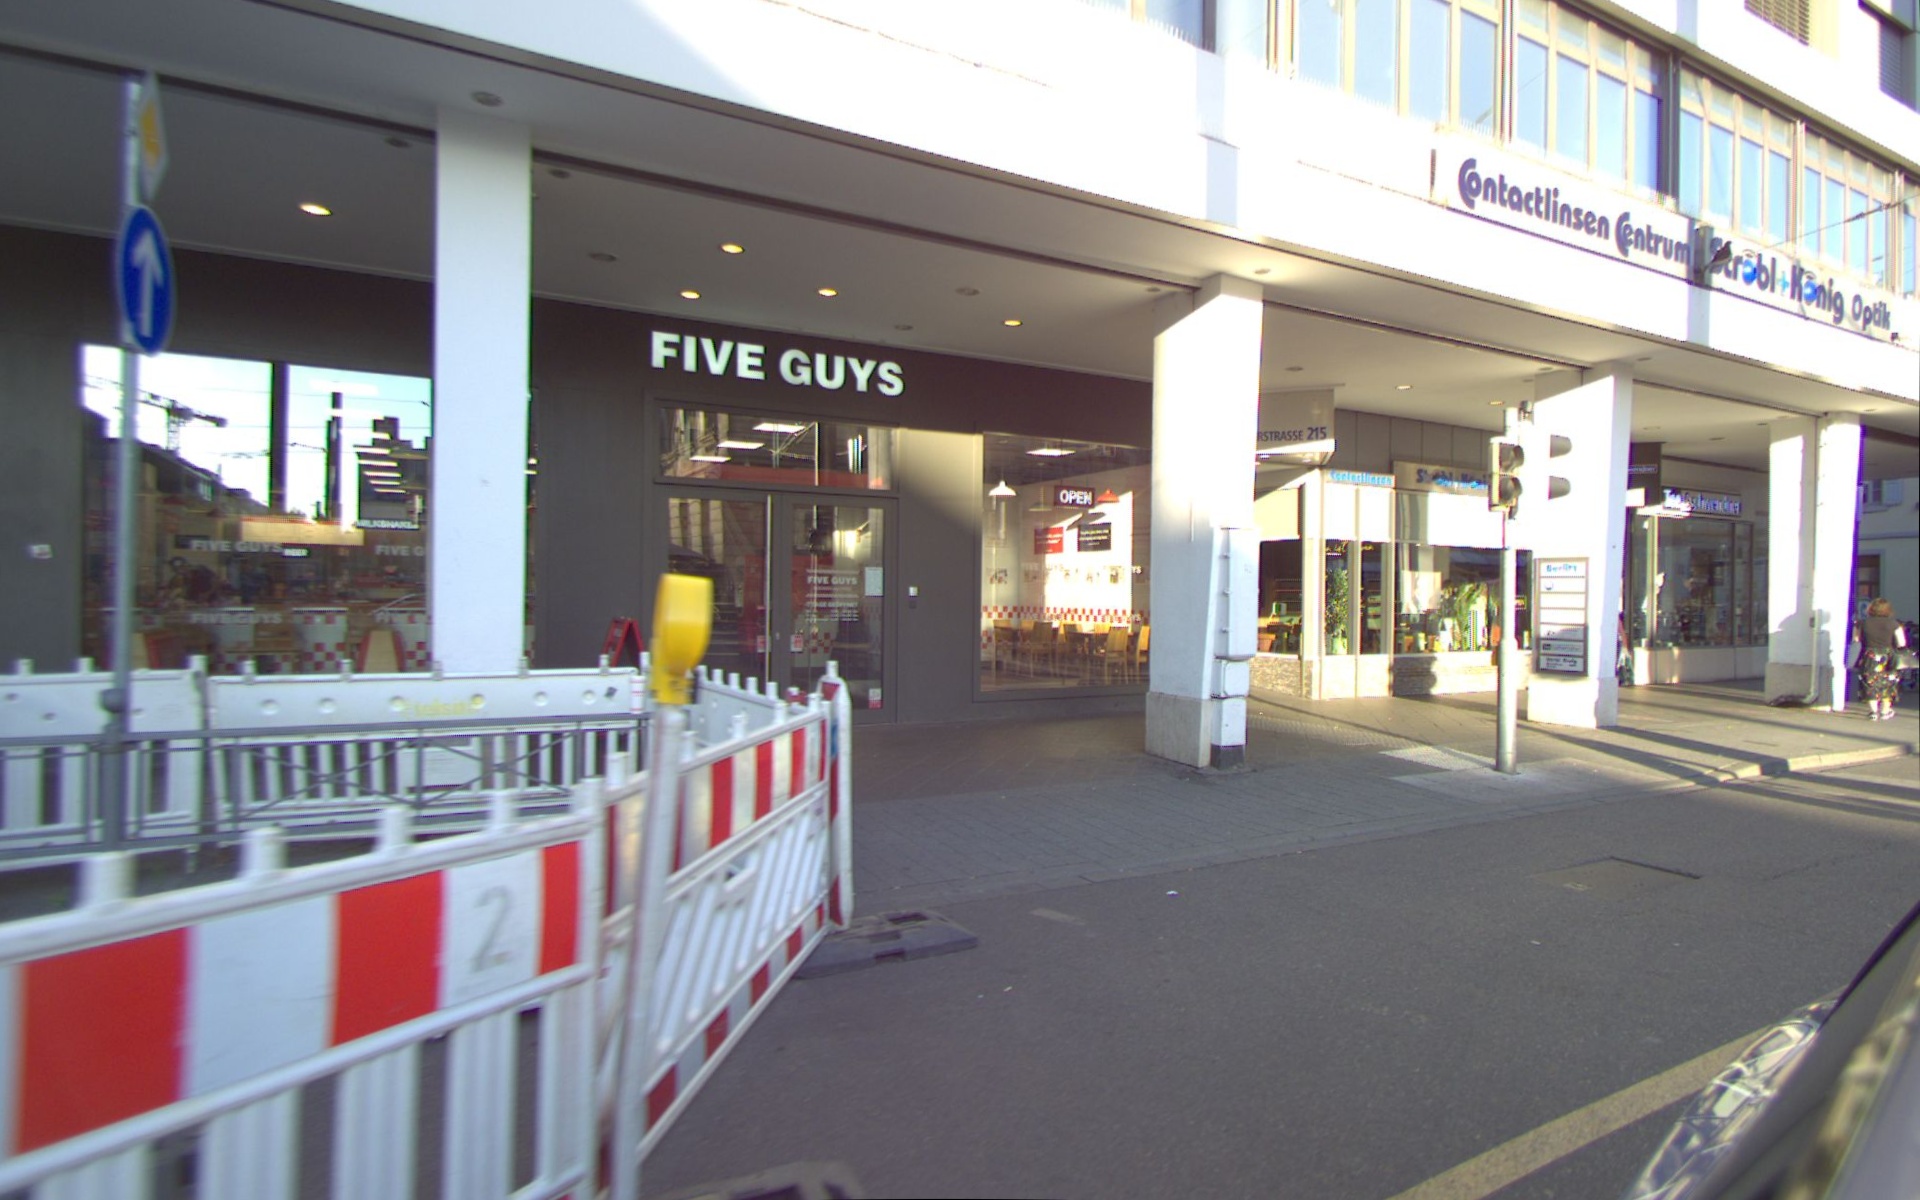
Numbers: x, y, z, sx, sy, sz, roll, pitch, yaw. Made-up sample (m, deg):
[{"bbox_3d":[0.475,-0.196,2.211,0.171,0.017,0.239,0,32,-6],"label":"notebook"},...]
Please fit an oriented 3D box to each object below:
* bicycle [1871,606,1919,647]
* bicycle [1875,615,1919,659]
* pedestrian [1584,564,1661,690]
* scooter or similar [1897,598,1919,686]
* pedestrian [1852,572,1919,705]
[{"bbox_3d":[28.057,0.774,29.726,1.812,1.196,0.771,0,-1,3],"label":"bicycle"},{"bbox_3d":[23.032,0.905,24.434,1.808,1.042,0.773,2,-2,-25],"label":"bicycle"},{"bbox_3d":[9.901,0.391,15.146,0.617,1.839,0.703,0,-1,-14],"label":"pedestrian"},{"bbox_3d":[17.033,0.725,17.868,1.288,1.507,0.315,0,0,-29],"label":"scooter or similar"},{"bbox_3d":[12.334,0.498,13.343,0.693,1.715,0.537,-1,-1,23],"label":"pedestrian"}]
